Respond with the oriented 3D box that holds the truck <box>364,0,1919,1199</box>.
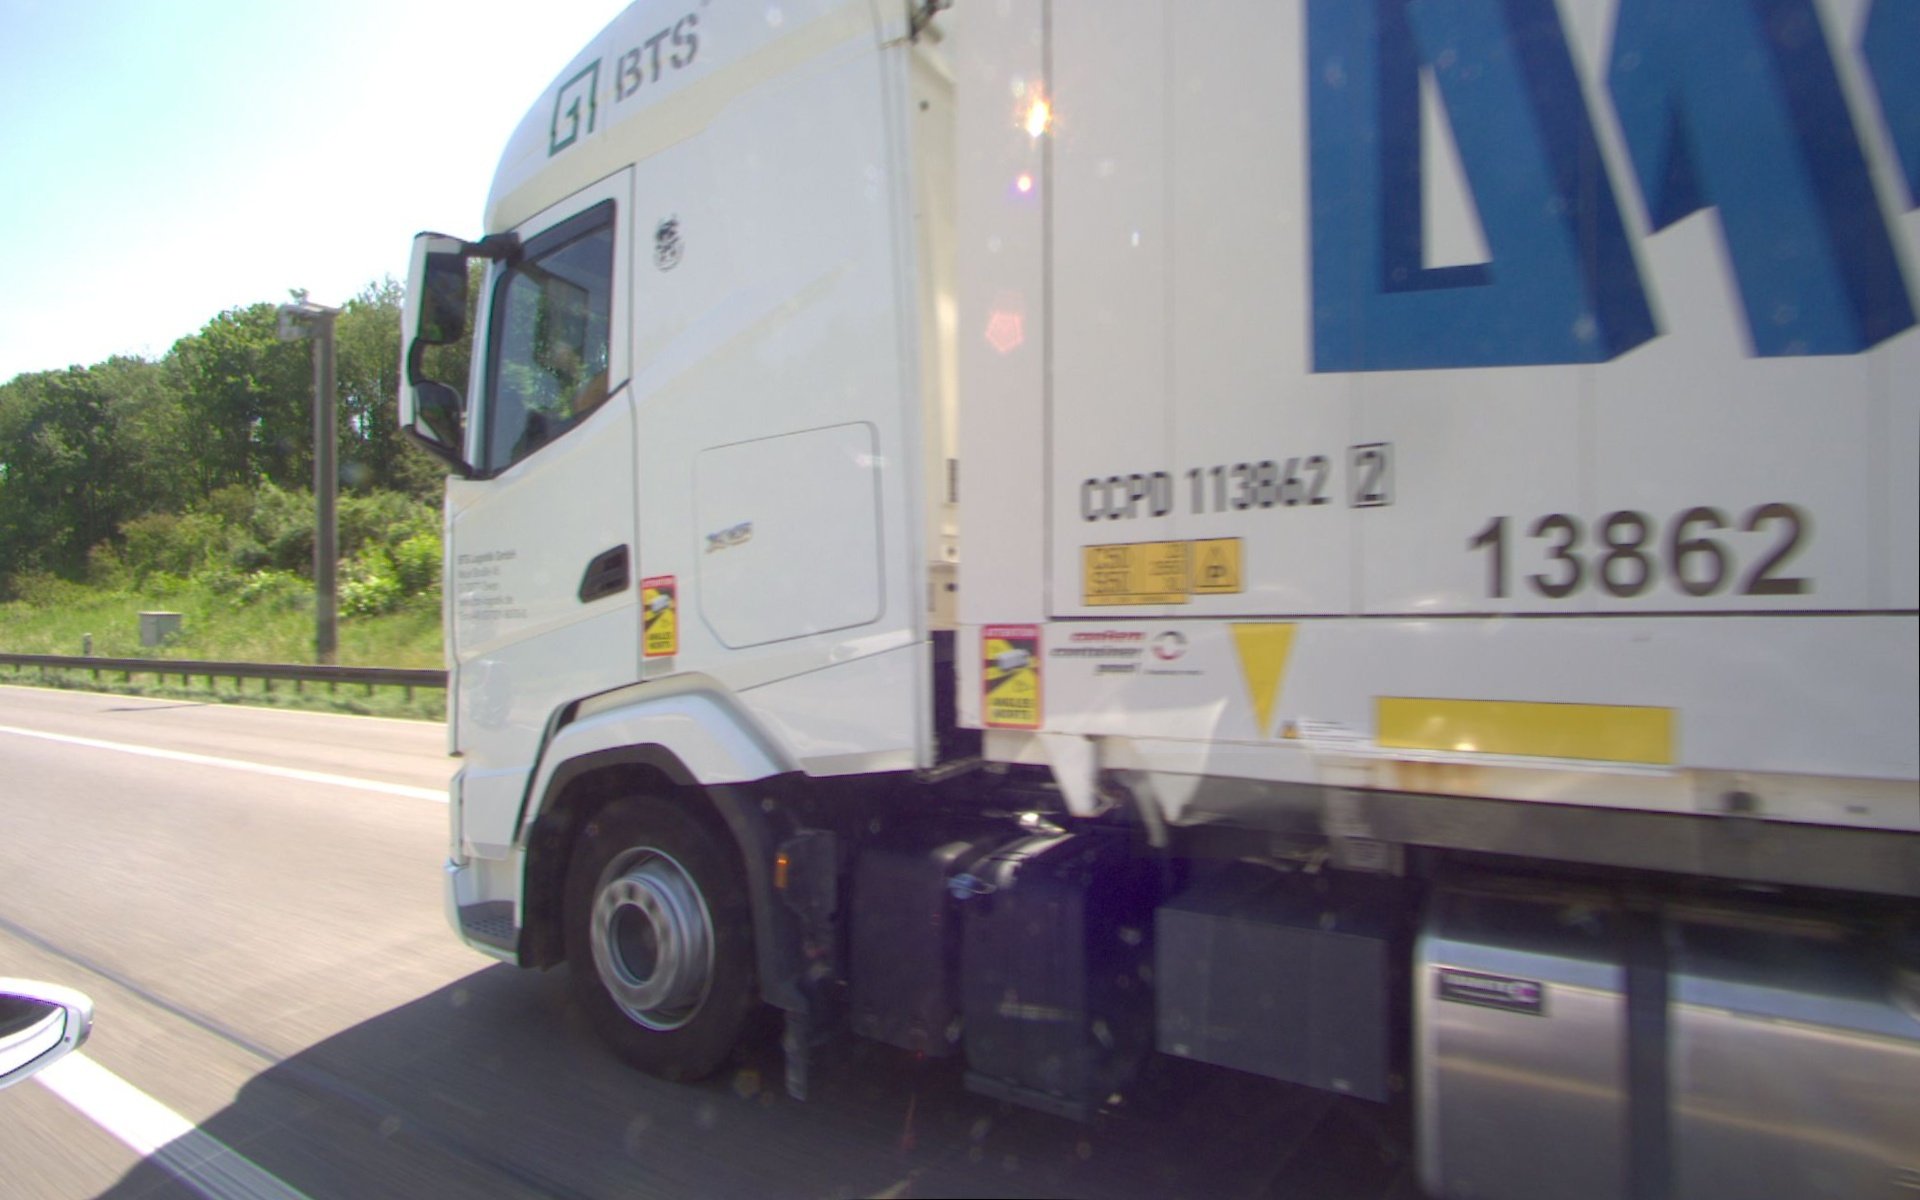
[{"bbox_3d":[2.834,-0.623,2.228,10.471,4.112,2.675,0,0,32],"label":"truck"}]
